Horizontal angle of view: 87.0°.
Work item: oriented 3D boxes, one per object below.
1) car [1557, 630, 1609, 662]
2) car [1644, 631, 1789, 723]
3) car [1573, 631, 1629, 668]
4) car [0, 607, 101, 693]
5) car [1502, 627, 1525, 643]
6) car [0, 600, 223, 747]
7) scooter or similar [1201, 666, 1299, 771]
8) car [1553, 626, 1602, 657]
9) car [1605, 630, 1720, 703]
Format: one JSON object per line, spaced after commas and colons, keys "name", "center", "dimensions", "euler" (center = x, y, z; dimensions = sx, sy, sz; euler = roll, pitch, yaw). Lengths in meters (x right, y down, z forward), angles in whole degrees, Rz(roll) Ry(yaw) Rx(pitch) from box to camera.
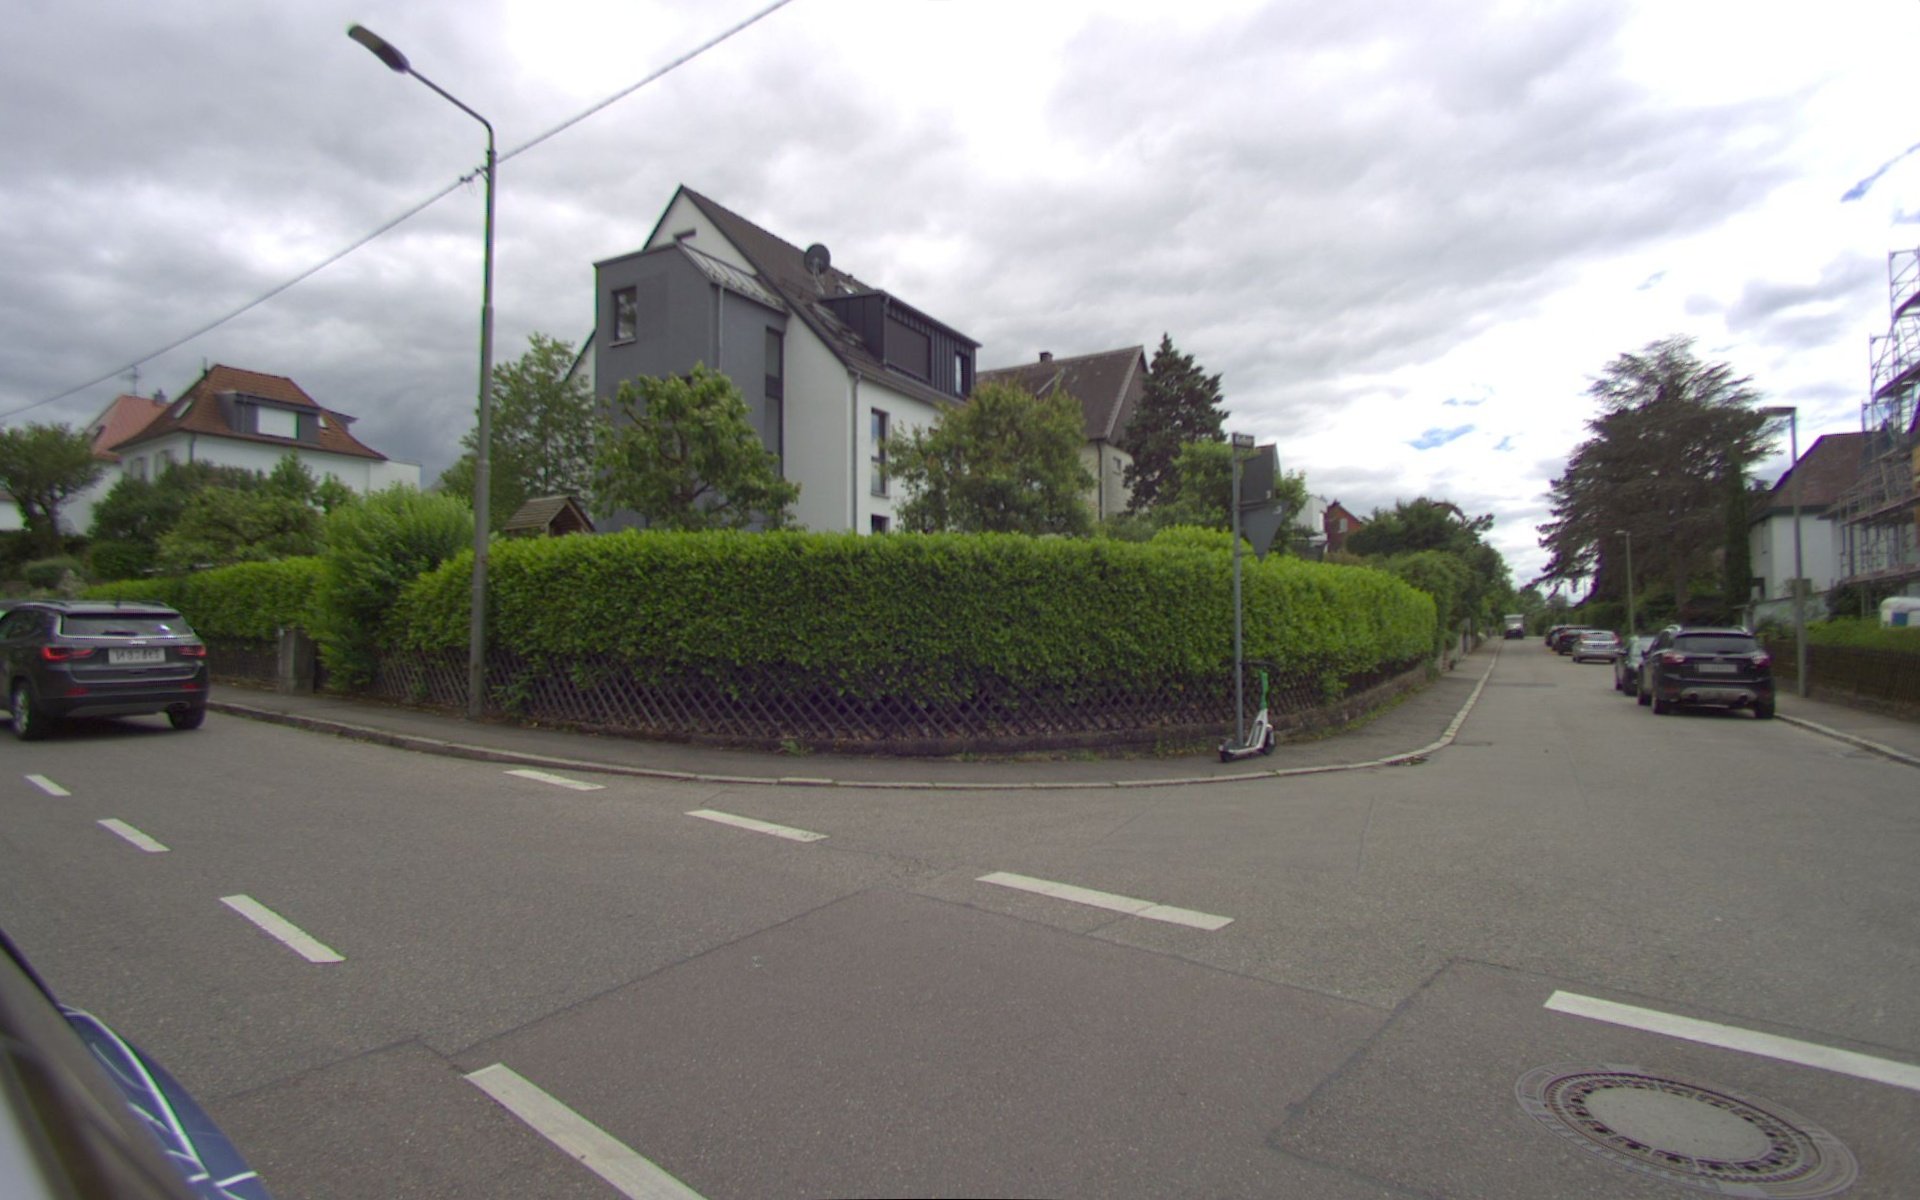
{"name": "car", "center": [33.765, 2.467, 54.955], "dimensions": [1.989, 1.685, 3.965], "euler": [0, -2, 25]}
{"name": "car", "center": [14.695, 1.453, 19.883], "dimensions": [1.890, 1.609, 3.956], "euler": [-1, -3, 32]}
{"name": "car", "center": [28.616, 2.167, 45.257], "dimensions": [1.732, 1.541, 3.962], "euler": [0, -2, 27]}
{"name": "car", "center": [-18.587, 0.921, 19.658], "dimensions": [3.989, 1.535, 1.820], "euler": [0, -2, 33]}
{"name": "car", "center": [56.711, 3.606, 103.704], "dimensions": [1.739, 1.609, 3.968], "euler": [0, -2, 24]}
{"name": "car", "center": [-11.333, 0.829, 12.951], "dimensions": [3.945, 1.611, 1.798], "euler": [0, -1, 33]}
{"name": "scooter or similar", "center": [3.449, 1.365, 11.982], "dimensions": [0.455, 1.109, 1.434], "euler": [2, 0, 44]}
{"name": "car", "center": [37.239, 2.481, 61.157], "dimensions": [1.988, 1.741, 3.968], "euler": [0, -2, 24]}
{"name": "car", "center": [17.514, 1.592, 25.411], "dimensions": [1.862, 1.652, 3.962], "euler": [0, -2, 27]}
